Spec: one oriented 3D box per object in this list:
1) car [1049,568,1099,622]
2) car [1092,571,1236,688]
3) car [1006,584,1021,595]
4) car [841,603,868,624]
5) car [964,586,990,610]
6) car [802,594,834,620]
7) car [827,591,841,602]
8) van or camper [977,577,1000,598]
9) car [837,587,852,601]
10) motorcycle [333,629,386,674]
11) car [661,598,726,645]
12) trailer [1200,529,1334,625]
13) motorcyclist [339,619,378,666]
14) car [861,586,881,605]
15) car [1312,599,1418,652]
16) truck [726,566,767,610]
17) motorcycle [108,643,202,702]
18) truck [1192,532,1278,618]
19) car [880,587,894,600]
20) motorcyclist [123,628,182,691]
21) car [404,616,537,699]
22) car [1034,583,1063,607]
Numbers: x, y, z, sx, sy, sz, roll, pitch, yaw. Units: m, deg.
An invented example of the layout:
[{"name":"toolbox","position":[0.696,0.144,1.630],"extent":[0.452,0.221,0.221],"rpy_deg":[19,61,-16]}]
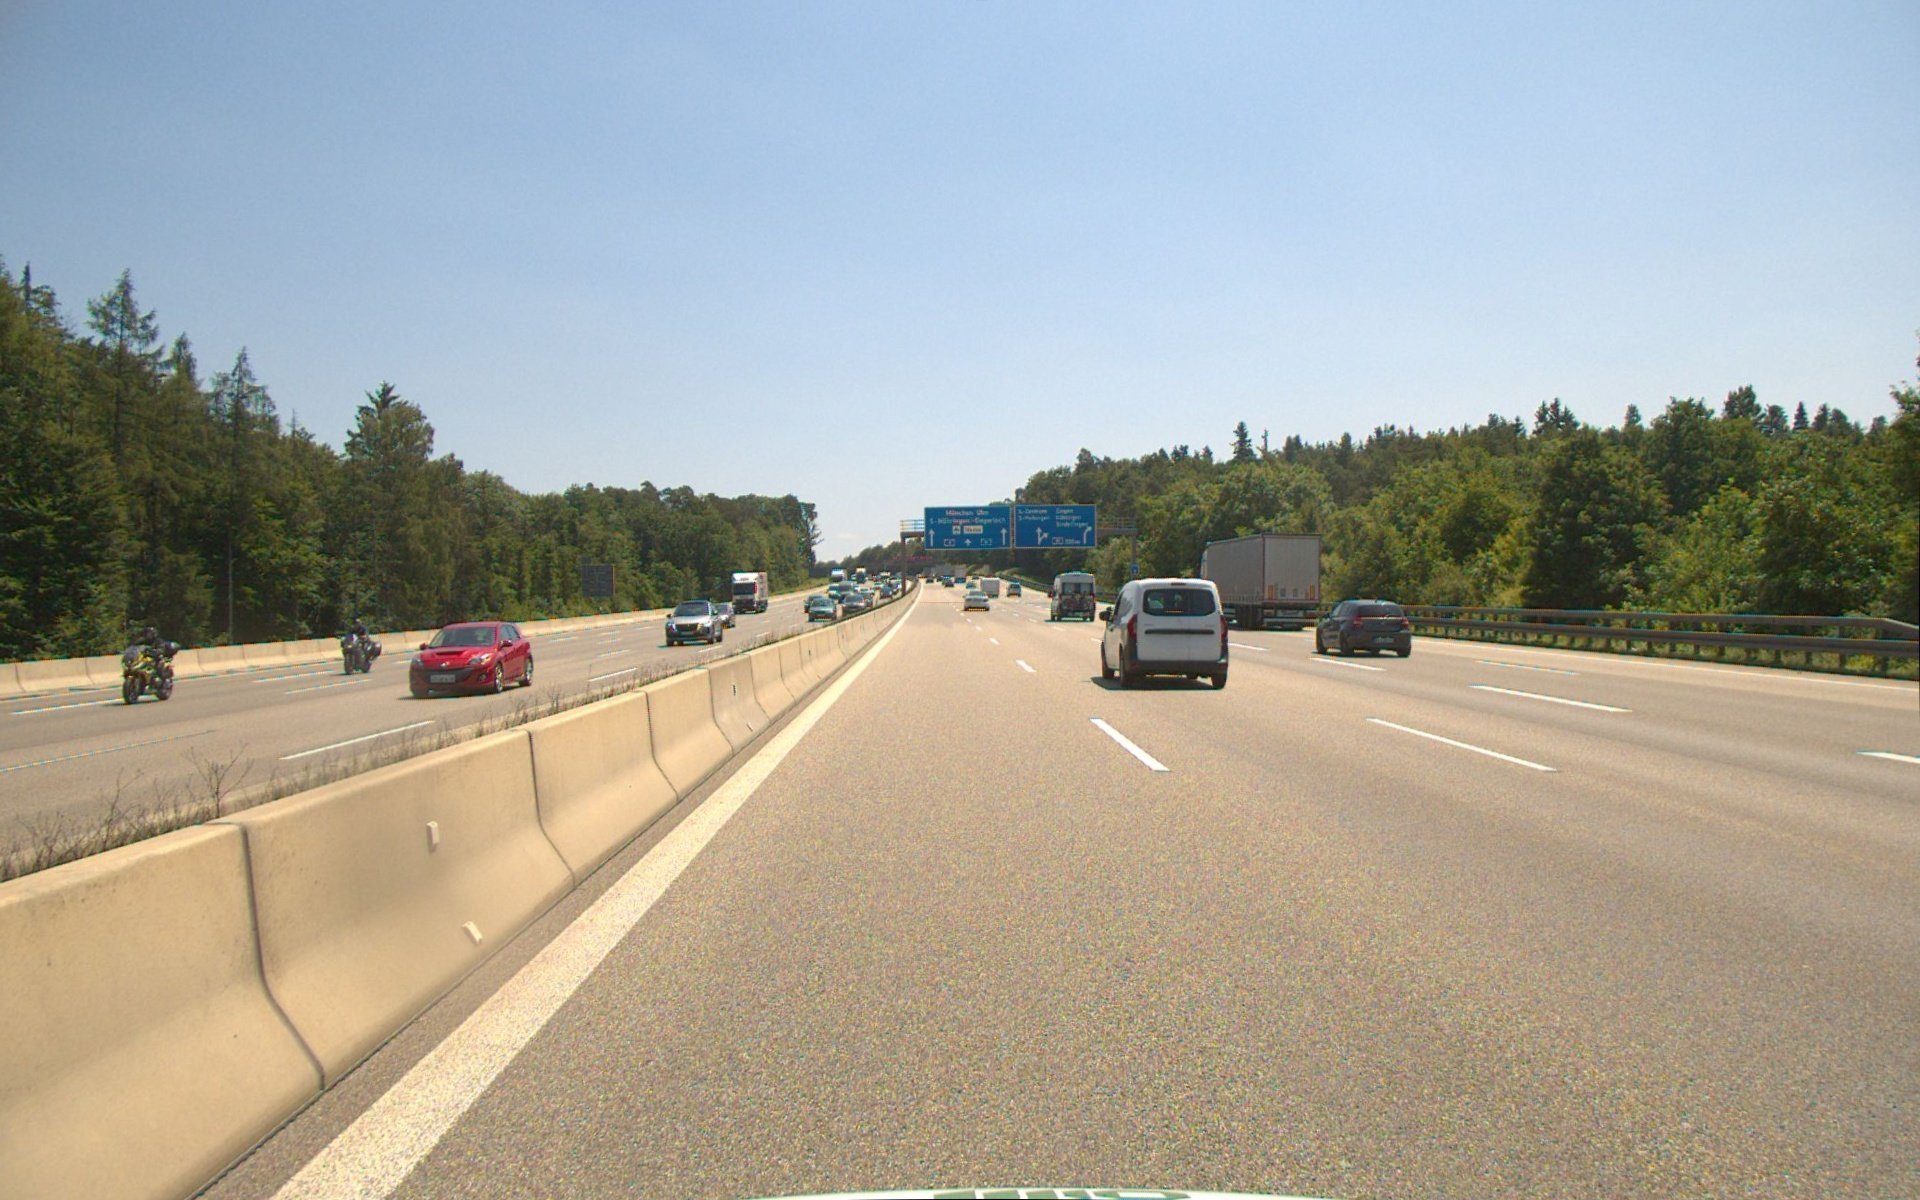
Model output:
[{"name":"car","position":[6.108,-0.272,89.152],"extent":[2.100,2.698,5.708],"rpy_deg":[-2,0,-1]},{"name":"car","position":[3.507,0.479,29.210],"extent":[1.822,1.857,4.611],"rpy_deg":[-2,0,-1]},{"name":"car","position":[7.127,-1.440,219.264],"extent":[1.798,1.361,3.642],"rpy_deg":[-2,0,-1]},{"name":"car","position":[-7.609,0.972,119.492],"extent":[1.717,1.401,4.490],"rpy_deg":[-2,0,-1]},{"name":"car","position":[1.242,-0.131,122.972],"extent":[1.806,1.657,4.552],"rpy_deg":[-2,0,-1]},{"name":"car","position":[-9.058,0.454,105.886],"extent":[1.682,1.538,4.350],"rpy_deg":[-2,0,-1]},{"name":"car","position":[-17.815,-0.494,234.227],"extent":[1.670,1.592,3.759],"rpy_deg":[-1,1,-1]},{"name":"van or camper","position":[3.624,-1.599,210.115],"extent":[2.591,2.583,6.500],"rpy_deg":[-2,0,-1]},{"name":"car","position":[-13.872,-0.725,198.690],"extent":[1.670,1.592,3.759],"rpy_deg":[-1,1,-1]},{"name":"motorcycle","position":[-17.808,1.516,49.123],"extent":[0.723,1.235,2.349],"rpy_deg":[-2,0,-1]},{"name":"car","position":[-10.571,0.829,65.901],"extent":[1.931,1.754,4.507],"rpy_deg":[-2,0,-2]},{"name":"trailer","position":[13.917,-1.084,76.473],"extent":[3.221,3.999,13.887],"rpy_deg":[0,1,-2]},{"name":"motorcyclist","position":[-17.819,1.254,49.027],"extent":[0.745,1.324,1.077],"rpy_deg":[-2,0,-1]},{"name":"car","position":[-8.247,-0.425,153.238],"extent":[1.582,1.691,3.849],"rpy_deg":[-2,0,-1]},{"name":"car","position":[10.453,0.622,42.974],"extent":[1.636,1.296,4.289],"rpy_deg":[0,0,-1]},{"name":"truck","position":[-20.209,-1.088,157.026],"extent":[2.664,4.008,10.233],"rpy_deg":[-2,0,-1]},{"name":"motorcycle","position":[-17.870,1.589,36.799],"extent":[0.762,1.161,2.755],"rpy_deg":[-2,0,-1]},{"name":"truck","position":[13.732,-1.255,82.944],"extent":[3.188,4.178,5.986],"rpy_deg":[0,1,-1]},{"name":"car","position":[-9.725,-0.883,220.142],"extent":[1.670,1.691,3.759],"rpy_deg":[-1,1,-1]},{"name":"motorcyclist","position":[-17.873,1.301,36.616],"extent":[0.753,1.324,1.077],"rpy_deg":[-2,0,-1]},{"name":"car","position":[-10.275,1.156,34.976],"extent":[1.540,1.538,4.030],"rpy_deg":[-2,0,0]},{"name":"car","position":[6.484,-0.357,121.543],"extent":[1.781,1.668,3.999],"rpy_deg":[-2,0,-1]}]
